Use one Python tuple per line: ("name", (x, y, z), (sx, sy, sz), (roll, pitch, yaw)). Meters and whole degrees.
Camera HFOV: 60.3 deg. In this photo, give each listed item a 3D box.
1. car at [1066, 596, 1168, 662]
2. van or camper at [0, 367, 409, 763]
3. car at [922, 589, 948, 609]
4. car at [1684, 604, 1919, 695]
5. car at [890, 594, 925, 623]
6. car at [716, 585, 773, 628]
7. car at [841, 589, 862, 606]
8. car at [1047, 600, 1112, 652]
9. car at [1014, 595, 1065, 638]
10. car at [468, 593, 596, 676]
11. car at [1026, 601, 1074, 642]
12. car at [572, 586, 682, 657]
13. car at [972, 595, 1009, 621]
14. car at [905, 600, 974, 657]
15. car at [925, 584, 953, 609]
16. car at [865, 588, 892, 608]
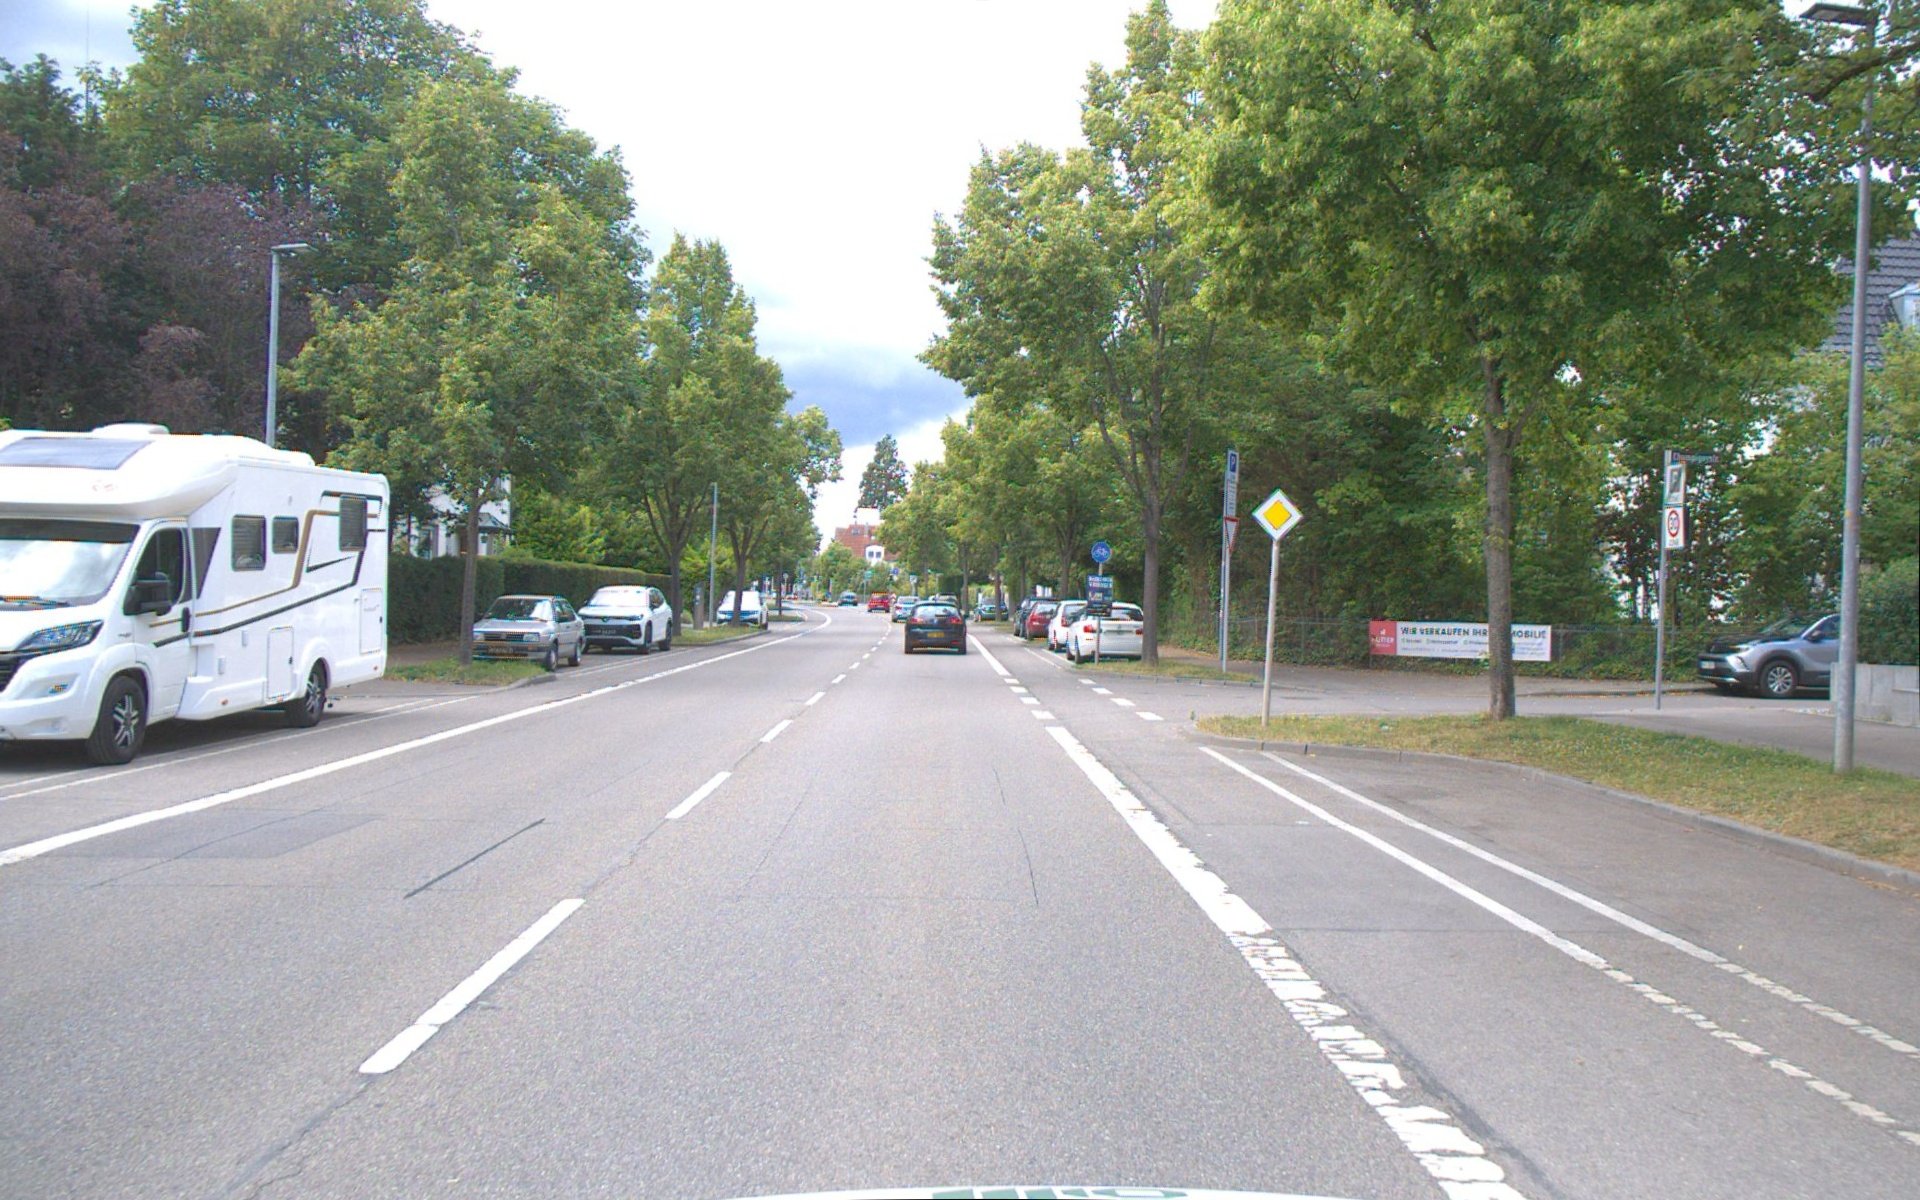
("car", (3.790, 0.668, 40.745), (1.980, 1.469, 5.024), (1, 0, -1))
("van or camper", (-8.006, -0.288, 16.657), (2.385, 3.062, 7.691), (1, 0, -1))
("car", (-1.996, -0.092, 129.434), (1.654, 1.474, 3.573), (1, 0, -7))
("car", (15.261, 0.867, 29.514), (3.909, 1.485, 1.792), (1, 1, -5))
("car", (-3.010, 0.483, 94.881), (1.953, 1.585, 3.998), (1, 0, -2))
("car", (-9.075, 0.251, 69.864), (1.836, 1.718, 4.864), (1, 0, -1))
("car", (-10.871, -0.229, 165.237), (1.955, 1.534, 3.995), (2, -1, -6))
("car", (3.526, 0.747, 49.184), (1.583, 1.485, 3.656), (1, 0, -1))
("car", (3.158, 0.653, 66.551), (1.605, 1.644, 4.167), (1, 0, -3))
("car", (-8.370, 0.626, 32.660), (1.524, 1.496, 4.449), (1, 0, -3))
("car", (3.288, 0.764, 61.075), (1.604, 1.445, 4.000), (1, 0, 0))
("car", (-8.471, 0.512, 42.474), (1.779, 1.681, 4.699), (1, 0, 1))
("car", (1.756, 0.466, 96.052), (1.651, 1.457, 4.039), (1, 0, -6))
("car", (-0.616, 0.762, 45.871), (1.748, 1.474, 3.555), (1, 0, -3))
("car", (-1.577, -0.244, 123.403), (1.754, 1.803, 3.977), (1, 0, -6))
("car", (-6.430, -0.172, 130.825), (1.955, 1.557, 3.996), (1, 0, -5))
